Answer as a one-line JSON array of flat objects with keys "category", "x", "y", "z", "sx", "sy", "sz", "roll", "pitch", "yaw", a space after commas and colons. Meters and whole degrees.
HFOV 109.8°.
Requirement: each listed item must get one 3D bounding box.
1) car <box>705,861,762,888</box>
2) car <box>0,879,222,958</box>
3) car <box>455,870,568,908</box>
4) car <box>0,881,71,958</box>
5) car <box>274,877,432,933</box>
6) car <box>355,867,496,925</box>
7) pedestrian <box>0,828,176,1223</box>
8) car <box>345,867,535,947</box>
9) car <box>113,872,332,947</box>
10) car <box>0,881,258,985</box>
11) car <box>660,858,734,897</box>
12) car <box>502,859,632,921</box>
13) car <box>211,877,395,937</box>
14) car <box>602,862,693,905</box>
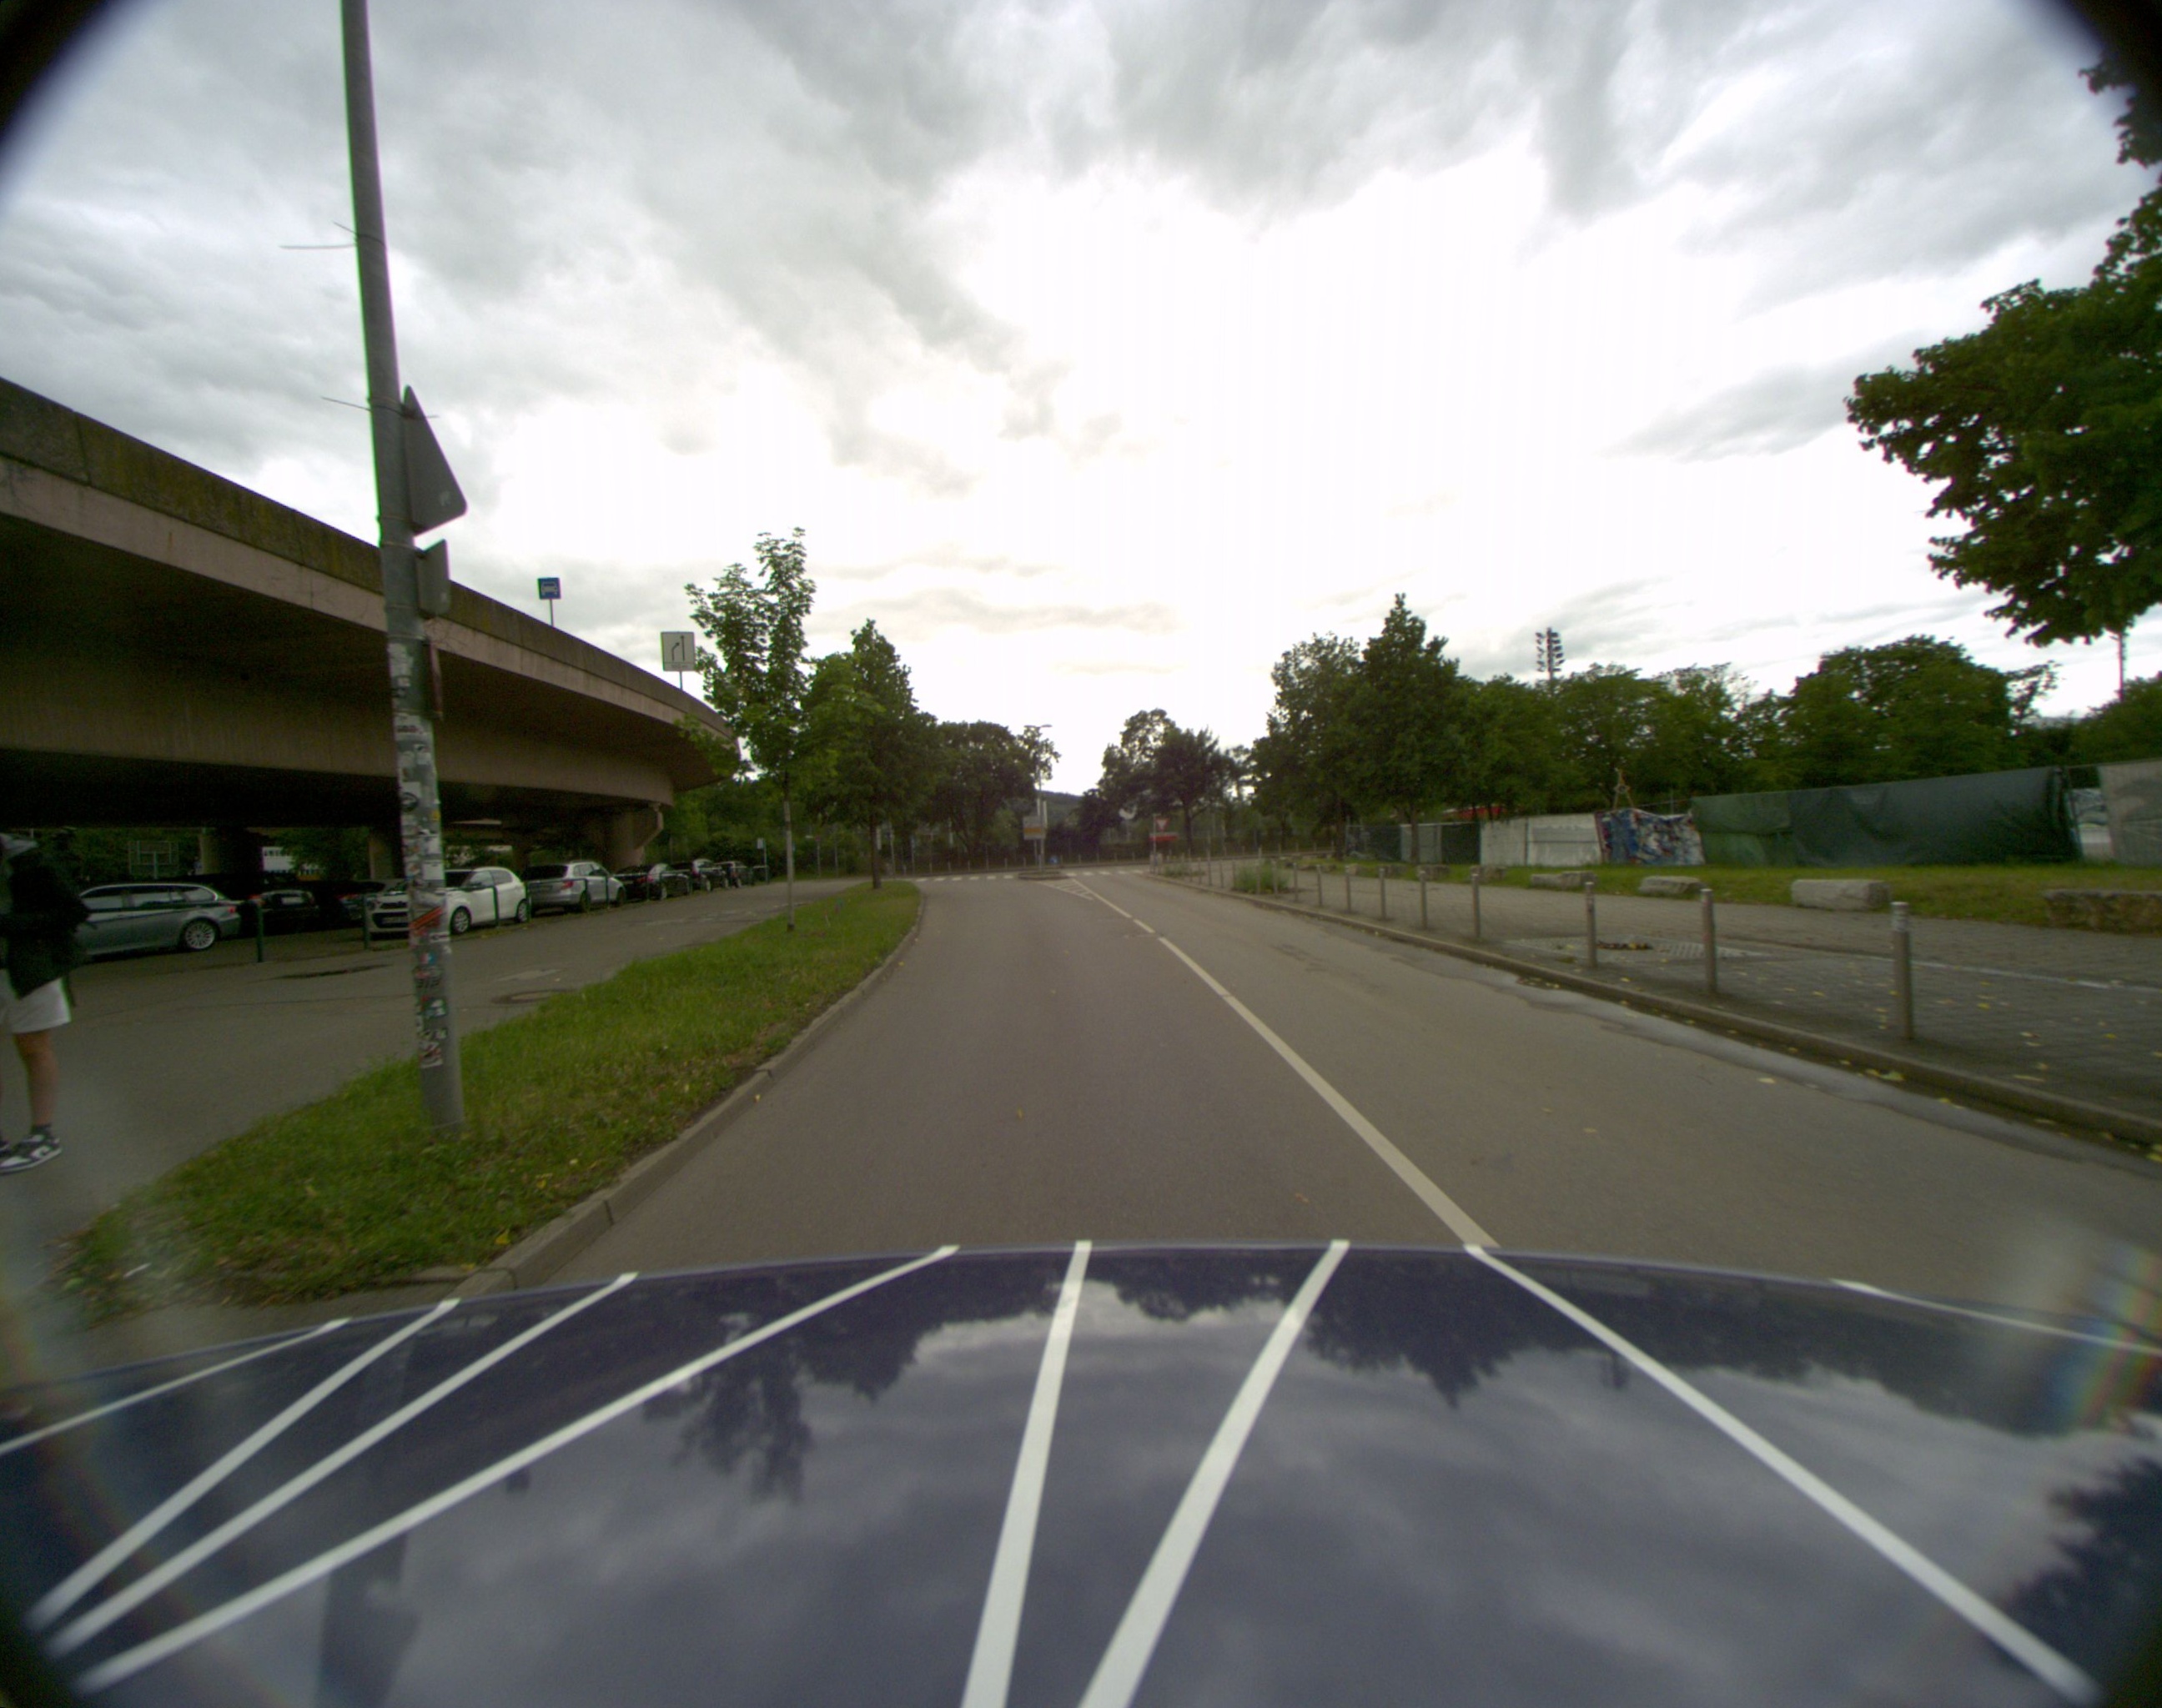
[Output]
[{"category": "car", "x": -17.613, "y": 1.002, "z": 38.702, "sx": 1.628, "sy": 1.231, "sz": 4.055, "roll": -3, "pitch": 0, "yaw": -11}, {"category": "car", "x": -21.230, "y": 1.366, "z": 16.520, "sx": 3.318, "sy": 1.503, "sz": 1.460, "roll": -3, "pitch": -1, "yaw": -2}, {"category": "car", "x": -22.649, "y": 1.375, "z": 30.293, "sx": 3.318, "sy": 1.287, "sz": 1.351, "roll": -3, "pitch": 1, "yaw": -4}, {"category": "car", "x": -21.450, "y": 1.291, "z": 14.126, "sx": 3.318, "sy": 1.401, "sz": 1.411, "roll": -3, "pitch": -1, "yaw": -2}, {"category": "car", "x": -22.128, "y": 1.526, "z": 23.185, "sx": 3.318, "sy": 1.401, "sz": 1.351, "roll": -3, "pitch": 1, "yaw": -4}, {"category": "car", "x": -22.219, "y": 1.387, "z": 25.841, "sx": 3.318, "sy": 1.677, "sz": 1.435, "roll": -3, "pitch": 1, "yaw": -4}, {"category": "pedestrian", "x": -5.549, "y": 0.813, "z": 3.716, "sx": 0.822, "sy": 1.869, "sz": 1.180, "roll": 0, "pitch": 1, "yaw": -5}, {"category": "car", "x": -14.219, "y": 1.101, "z": 17.132, "sx": 1.610, "sy": 1.437, "sz": 3.472, "roll": -3, "pitch": 1, "yaw": -9}, {"category": "car", "x": -21.119, "y": 1.328, "z": 18.806, "sx": 3.318, "sy": 1.588, "sz": 1.667, "roll": -3, "pitch": 0, "yaw": -4}, {"category": "car", "x": -17.546, "y": 1.308, "z": 13.259, "sx": 1.642, "sy": 1.378, "sz": 4.472, "roll": -1, "pitch": 2, "yaw": -4}, {"category": "car", "x": -16.703, "y": 0.975, "z": 33.284, "sx": 1.628, "sy": 1.366, "sz": 4.172, "roll": -8, "pitch": 1, "yaw": -11}, {"category": "car", "x": -15.016, "y": 0.991, "z": 22.468, "sx": 1.616, "sy": 1.521, "sz": 3.914, "roll": -4, "pitch": 1, "yaw": -10}, {"category": "car", "x": -21.455, "y": 1.446, "z": 21.069, "sx": 3.318, "sy": 1.390, "sz": 1.552, "roll": -3, "pitch": 0, "yaw": -4}, {"category": "car", "x": -15.925, "y": 1.039, "z": 28.111, "sx": 1.628, "sy": 1.308, "sz": 3.773, "roll": -5, "pitch": 1, "yaw": -10}]
